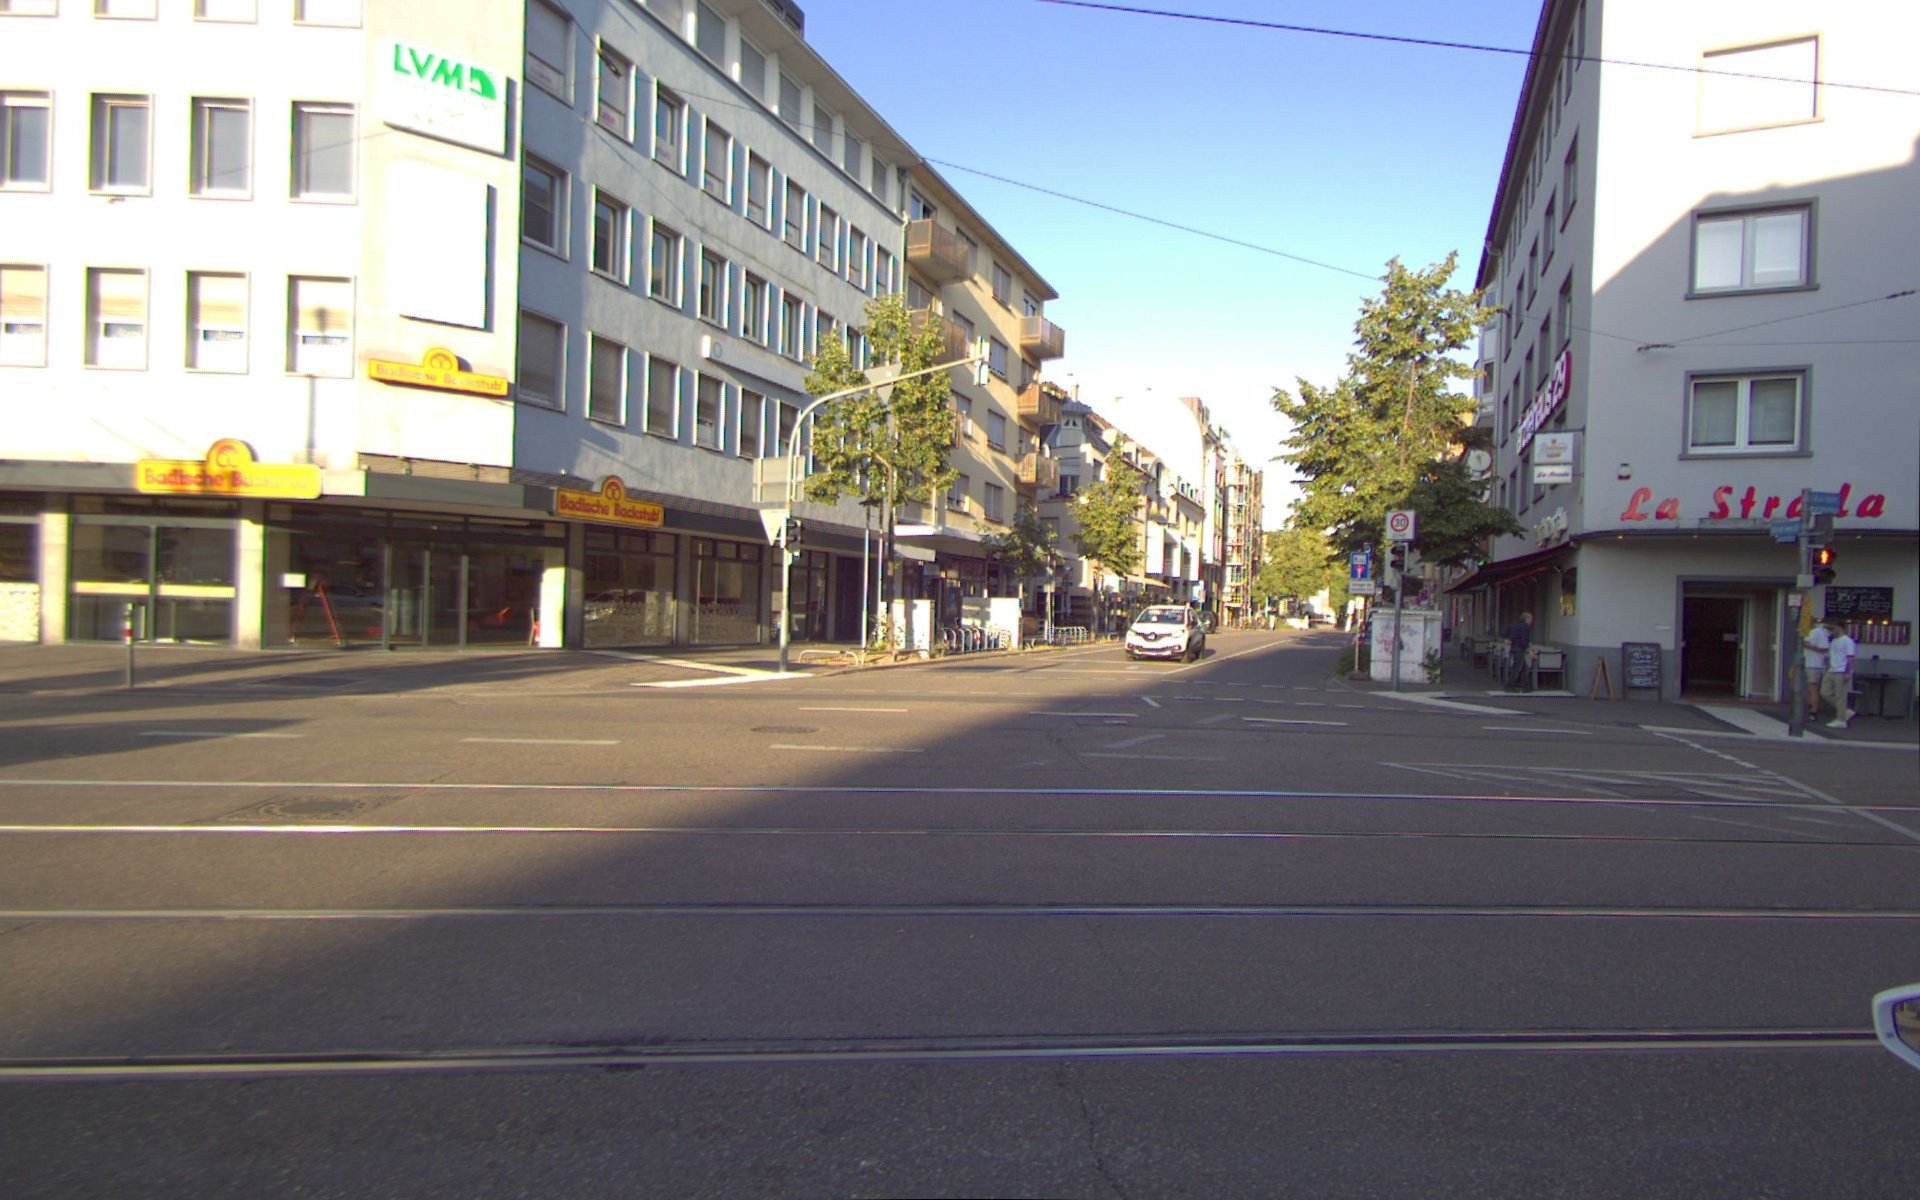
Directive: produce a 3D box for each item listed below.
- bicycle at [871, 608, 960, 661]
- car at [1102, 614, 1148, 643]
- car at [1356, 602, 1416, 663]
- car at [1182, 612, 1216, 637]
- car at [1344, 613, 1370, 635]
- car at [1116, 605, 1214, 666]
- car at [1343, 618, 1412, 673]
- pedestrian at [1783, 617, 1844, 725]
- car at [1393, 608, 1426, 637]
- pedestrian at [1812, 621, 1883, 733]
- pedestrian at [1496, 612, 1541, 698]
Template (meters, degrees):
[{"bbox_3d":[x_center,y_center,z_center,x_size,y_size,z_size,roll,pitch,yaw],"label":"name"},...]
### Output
[{"bbox_3d":[-1.225,0.931,27.582,2.328,1.269,0.640,4,0,19],"label":"bicycle"},{"bbox_3d":[9.452,1.619,57.219,1.805,1.577,3.779,1,-1,22],"label":"car"},{"bbox_3d":[14.980,1.096,35.259,1.615,1.898,3.603,5,2,26],"label":"car"},{"bbox_3d":[16.124,1.642,67.723,1.638,1.574,3.495,2,0,23],"label":"car"},{"bbox_3d":[35.574,2.166,89.920,1.823,1.817,3.996,3,0,26],"label":"car"},{"bbox_3d":[5.961,1.011,28.882,2.074,1.577,4.012,1,-1,22],"label":"car"},{"bbox_3d":[12.283,1.282,29.449,1.614,1.463,3.603,2,0,26],"label":"car"},{"bbox_3d":[14.740,1.212,17.363,0.589,1.802,0.638,2,0,22],"label":"pedestrian"},{"bbox_3d":[30.695,1.544,68.502,1.823,1.817,3.996,4,0,26],"label":"car"},{"bbox_3d":[14.623,1.243,16.568,0.656,1.768,0.638,2,0,22],"label":"pedestrian"},{"bbox_3d":[11.434,1.117,20.567,0.690,1.699,0.713,2,0,24],"label":"pedestrian"}]
